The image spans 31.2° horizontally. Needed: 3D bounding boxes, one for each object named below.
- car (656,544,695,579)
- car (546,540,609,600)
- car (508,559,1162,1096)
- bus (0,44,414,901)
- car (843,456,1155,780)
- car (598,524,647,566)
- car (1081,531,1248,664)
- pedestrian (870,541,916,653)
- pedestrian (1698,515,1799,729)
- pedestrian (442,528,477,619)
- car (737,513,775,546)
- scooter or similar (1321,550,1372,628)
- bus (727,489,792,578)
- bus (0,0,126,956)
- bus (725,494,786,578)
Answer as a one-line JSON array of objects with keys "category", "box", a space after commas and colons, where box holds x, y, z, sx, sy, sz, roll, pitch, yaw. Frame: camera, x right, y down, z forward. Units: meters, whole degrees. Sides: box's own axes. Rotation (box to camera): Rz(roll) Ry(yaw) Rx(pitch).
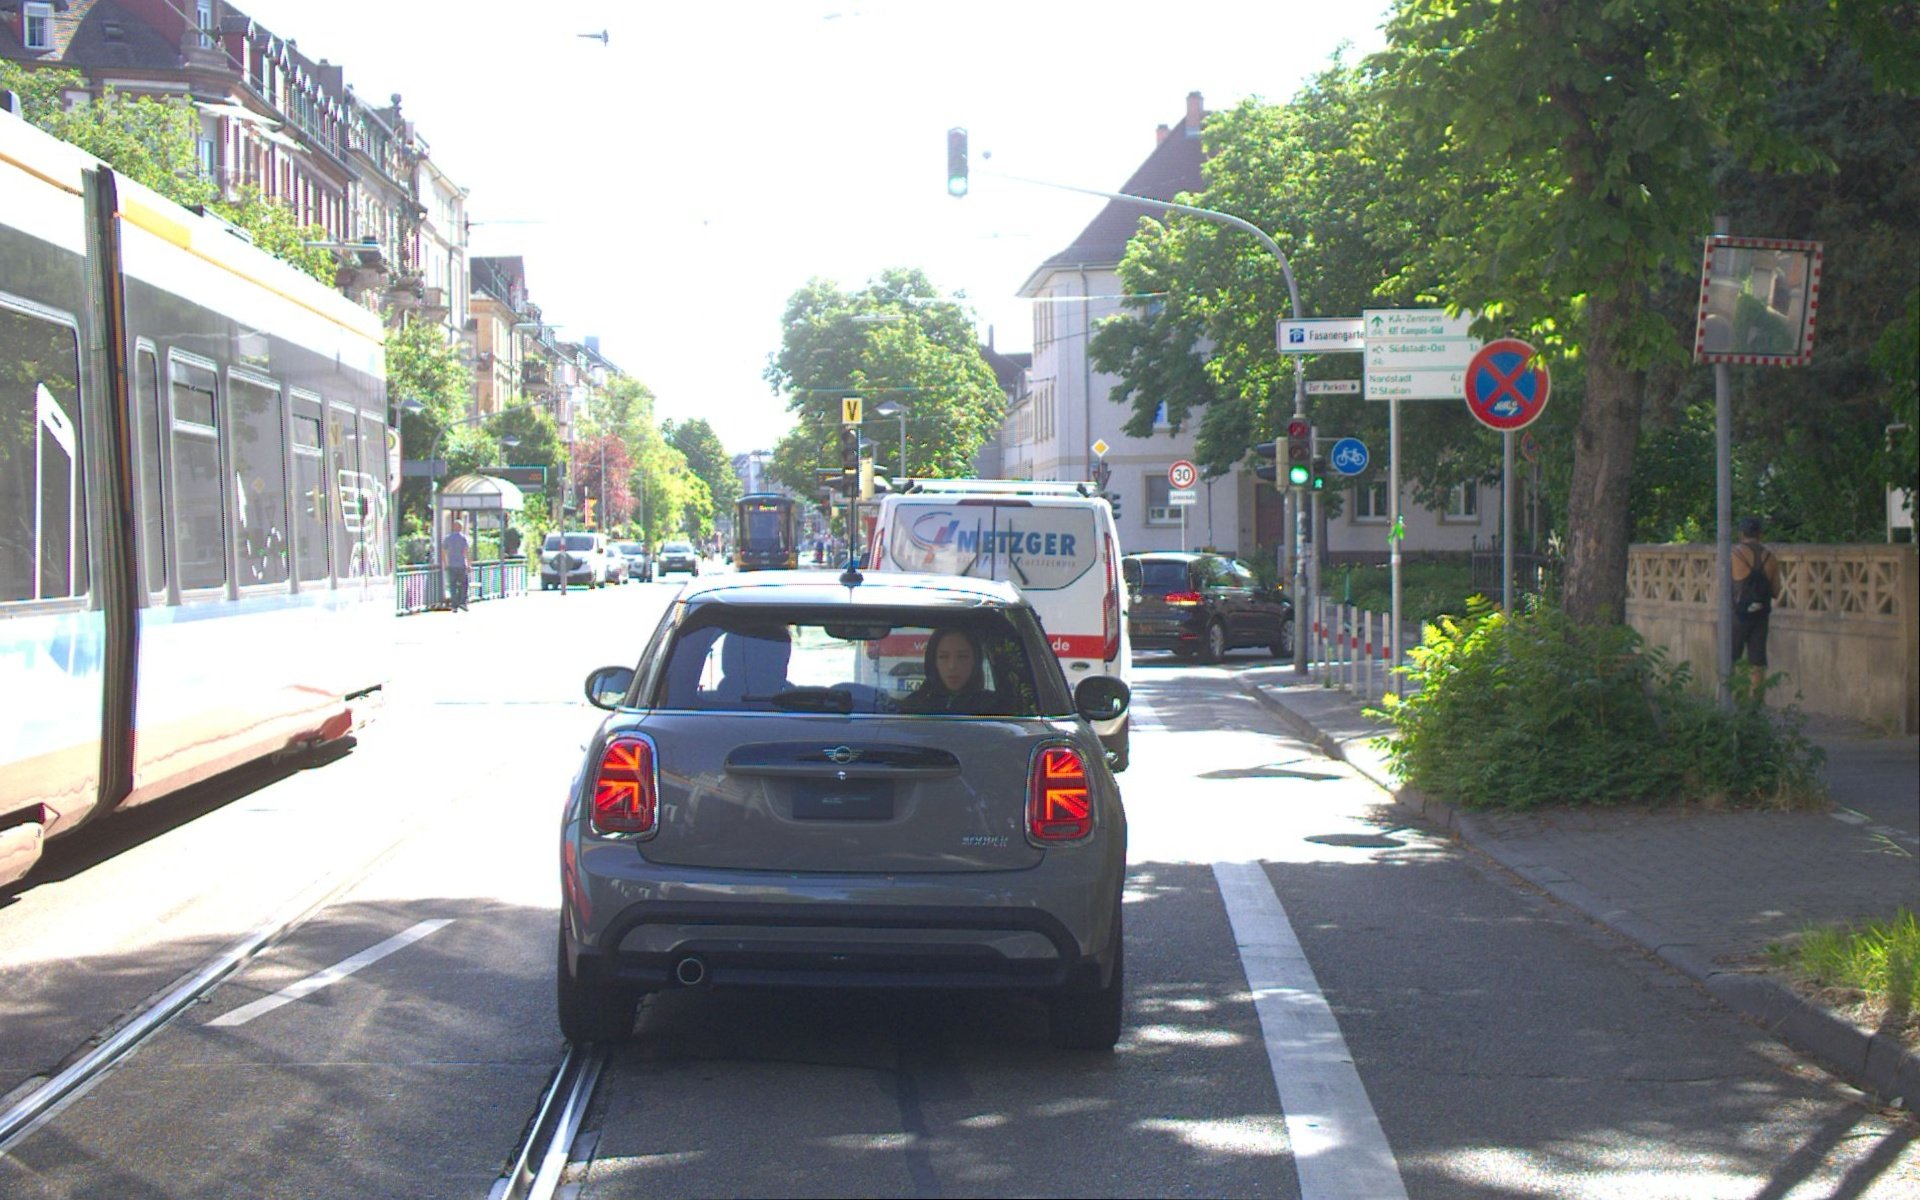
[{"category": "car", "box": [-13.669, -1.843, 165.165, 1.775, 1.612, 4.001, 1, 0, -4]}, {"category": "car", "box": [-13.175, -1.037, 118.198, 1.993, 2.007, 5.030, 1, 0, -8]}, {"category": "car", "box": [-0.372, 0.623, 11.637, 1.815, 1.483, 4.000, 1, 0, -1]}, {"category": "bus", "box": [-5.471, -0.620, 21.155, 2.849, 3.764, 12.199, 1, 0, -3]}, {"category": "car", "box": [0.240, 0.107, 26.062, 2.118, 2.201, 4.945, 1, 0, -1]}, {"category": "car", "box": [-13.214, -2.138, 134.624, 1.775, 1.612, 4.001, 1, 0, -4]}, {"category": "car", "box": [2.739, -0.048, 46.817, 1.993, 1.700, 4.000, 1, 0, 0]}, {"category": "pedestrian", "box": [-1.225, -0.057, 62.675, 0.795, 2.007, 0.740, 1, 0, -2]}, {"category": "pedestrian", "box": [6.249, 0.170, 27.260, 0.592, 1.665, 0.647, -2, 0, -1]}, {"category": "pedestrian", "box": [-9.959, -0.527, 68.387, 0.577, 1.789, 0.608, -1, 1, -19]}, {"category": "car", "box": [-10.238, -3.528, 172.252, 1.863, 1.558, 4.001, 1, 0, -4]}, {"category": "scooter or similar", "box": [6.594, -0.185, 58.715, 0.676, 1.306, 1.329, 1, 0, -1]}, {"category": "bus", "box": [-8.156, -2.638, 139.244, 2.385, 3.484, 7.385, 1, 0, -5]}, {"category": "bus", "box": [-4.852, -0.532, 9.560, 2.859, 3.764, 11.185, 1, 0, -3]}, {"category": "bus", "box": [-8.770, -2.686, 146.677, 2.385, 3.484, 7.385, 1, 0, -5]}]
